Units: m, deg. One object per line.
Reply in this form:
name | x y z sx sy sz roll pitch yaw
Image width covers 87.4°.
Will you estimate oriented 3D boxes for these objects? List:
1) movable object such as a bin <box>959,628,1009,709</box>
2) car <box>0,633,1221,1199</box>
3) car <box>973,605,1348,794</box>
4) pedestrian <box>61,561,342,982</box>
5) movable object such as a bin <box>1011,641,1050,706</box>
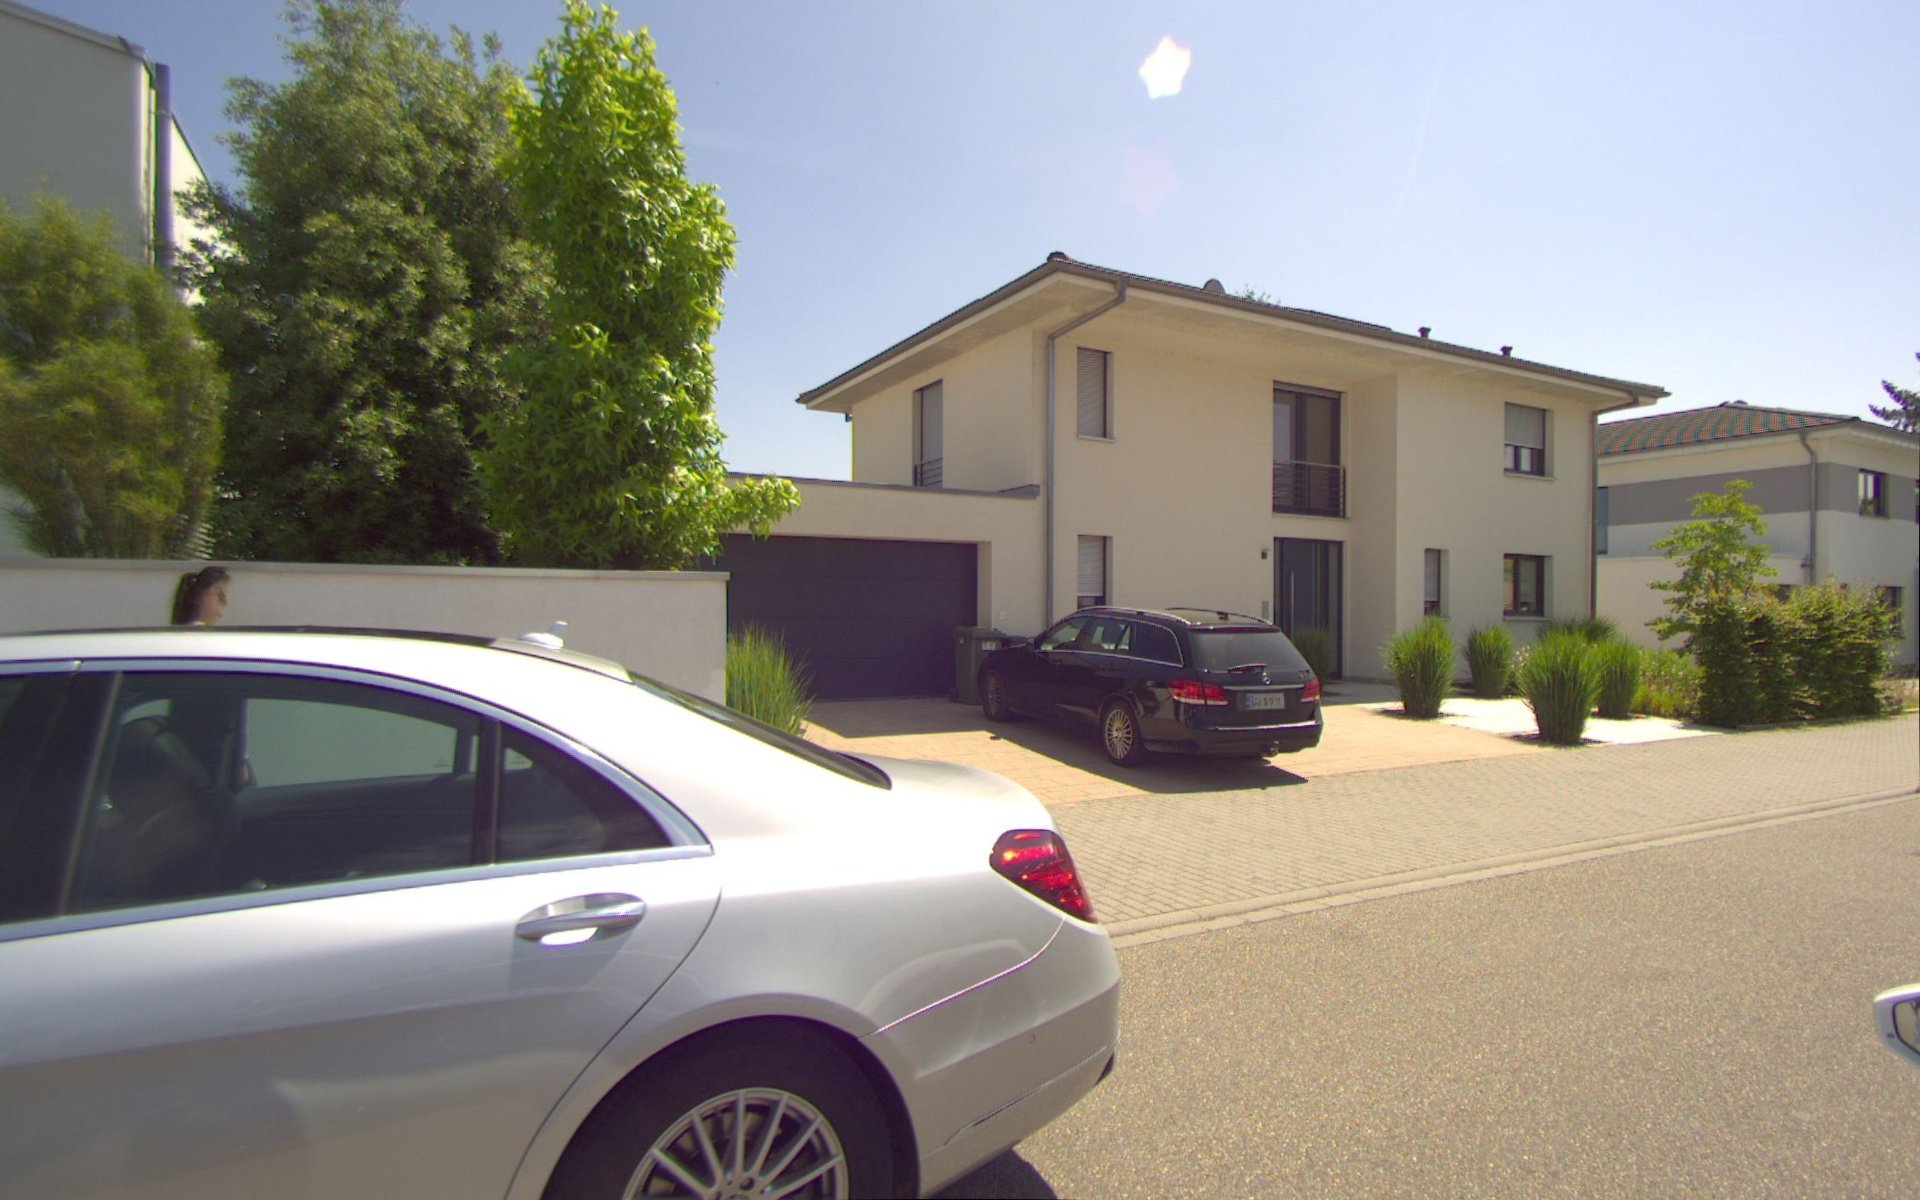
movable object such as a bin | 0.336 0.945 14.050 0.584 1.088 0.381 0 0 -35
car | -1.847 0.847 2.148 4.640 1.497 1.846 1 -3 -28
car | 1.910 0.881 11.109 1.825 1.493 4.415 0 2 -25
pedestrian | -3.529 0.729 4.773 0.949 1.770 0.711 0 0 -28
movable object such as a bin | 1.007 1.041 14.351 0.471 0.895 0.308 0 0 -35
